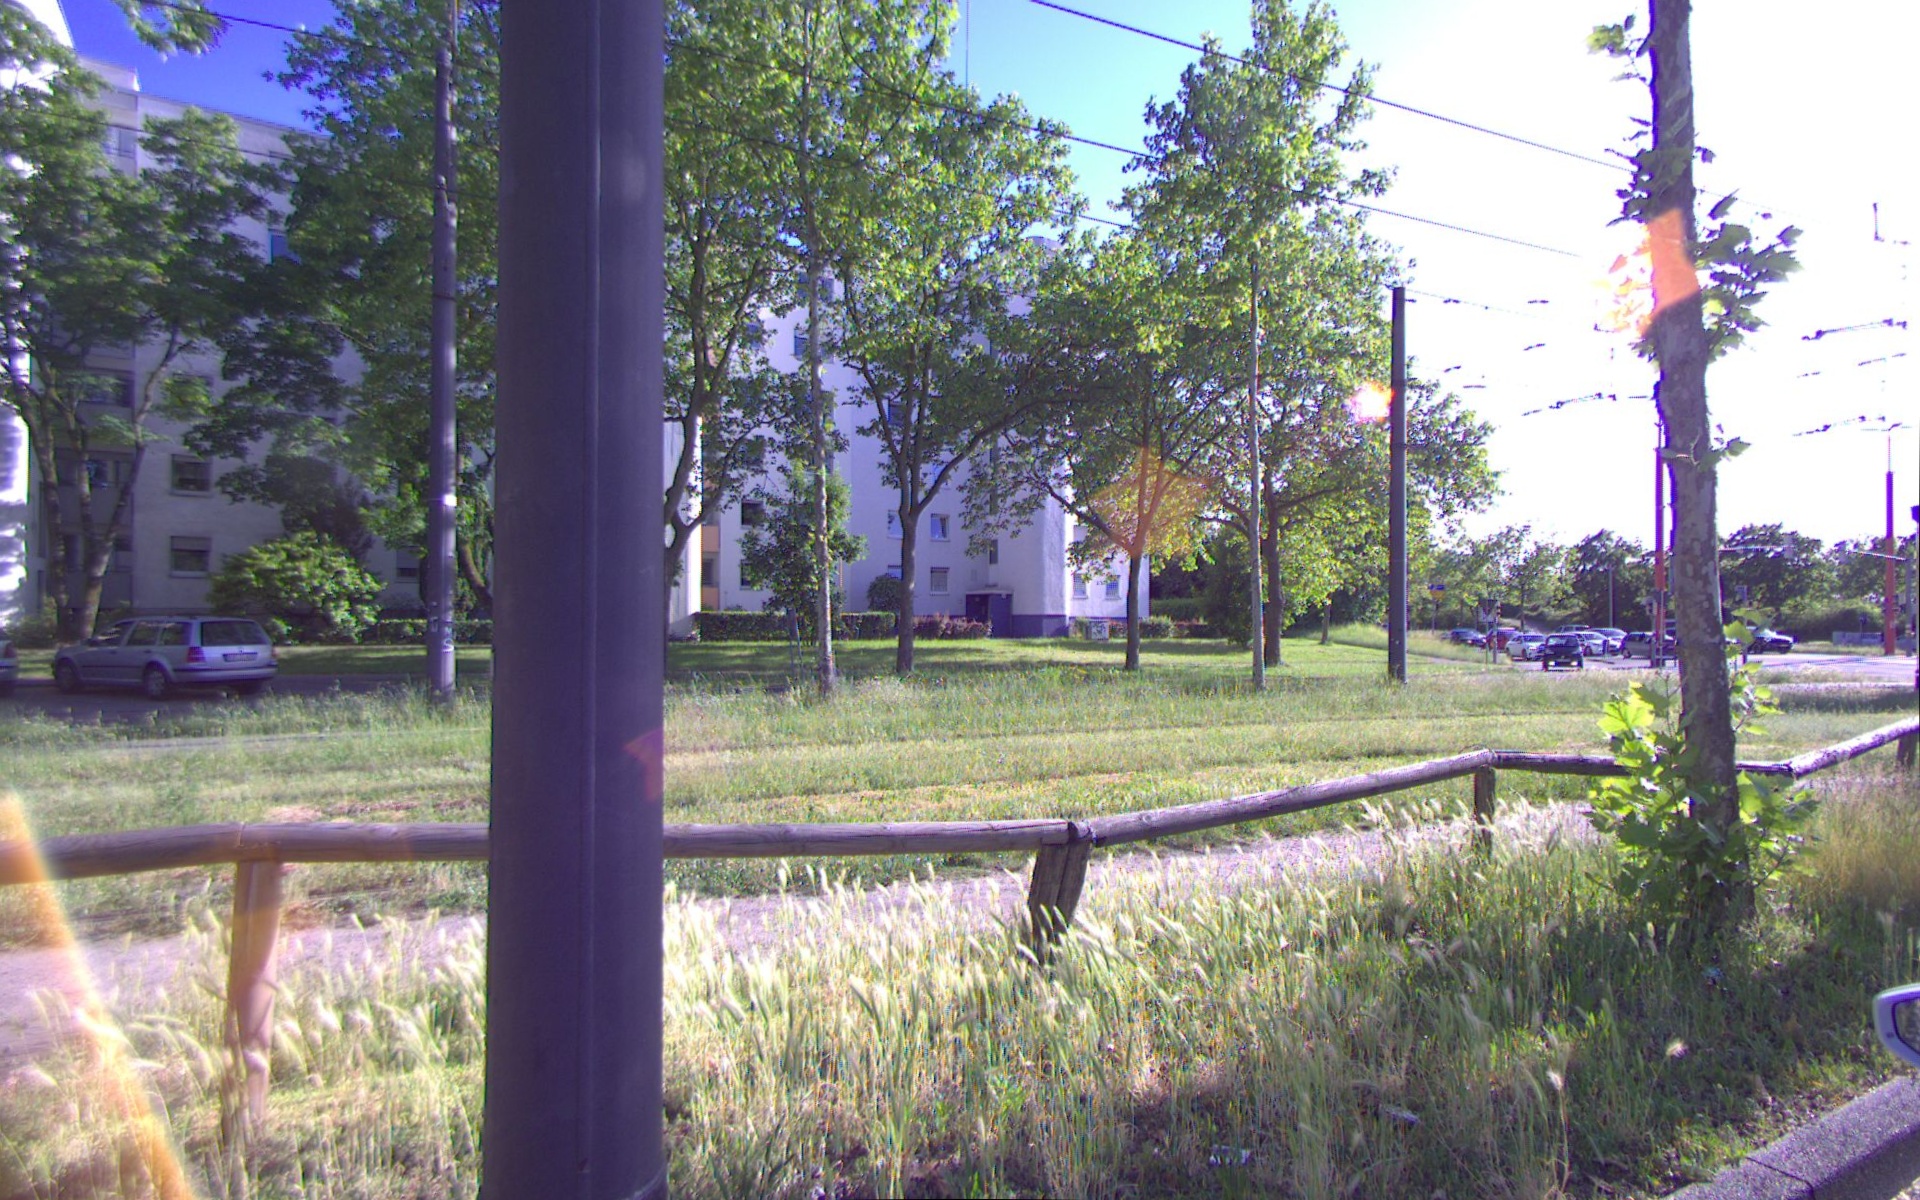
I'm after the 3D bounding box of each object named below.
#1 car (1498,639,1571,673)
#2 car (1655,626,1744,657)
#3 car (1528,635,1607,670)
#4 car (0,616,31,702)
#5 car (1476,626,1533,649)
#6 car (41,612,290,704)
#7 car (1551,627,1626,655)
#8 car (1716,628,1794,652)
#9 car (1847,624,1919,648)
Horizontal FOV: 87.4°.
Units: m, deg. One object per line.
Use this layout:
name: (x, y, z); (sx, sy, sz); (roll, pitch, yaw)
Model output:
car: (32.732, 3.149, 57.417); (1.959, 1.754, 4.849); (1, -1, 8)
car: (42.480, 2.344, 57.823); (1.962, 1.666, 3.997); (1, -1, -5)
car: (26.075, 2.220, 43.141); (2.816, 1.409, 1.790); (1, -1, -30)
car: (-17.917, 0.975, 17.087); (3.547, 1.439, 1.576); (1, 0, 18)
car: (38.422, 2.651, 71.025); (1.699, 1.533, 3.998); (1, -1, -4)
car: (-14.606, 1.000, 18.503); (3.898, 1.462, 1.710); (1, 0, 18)
car: (38.993, 2.519, 62.473); (1.833, 1.633, 4.185); (1, -1, -4)
car: (48.779, 2.428, 61.733); (1.664, 1.347, 4.001); (1, -1, 2)
car: (63.645, 2.464, 69.058); (1.655, 1.460, 3.973); (2, 0, -5)
